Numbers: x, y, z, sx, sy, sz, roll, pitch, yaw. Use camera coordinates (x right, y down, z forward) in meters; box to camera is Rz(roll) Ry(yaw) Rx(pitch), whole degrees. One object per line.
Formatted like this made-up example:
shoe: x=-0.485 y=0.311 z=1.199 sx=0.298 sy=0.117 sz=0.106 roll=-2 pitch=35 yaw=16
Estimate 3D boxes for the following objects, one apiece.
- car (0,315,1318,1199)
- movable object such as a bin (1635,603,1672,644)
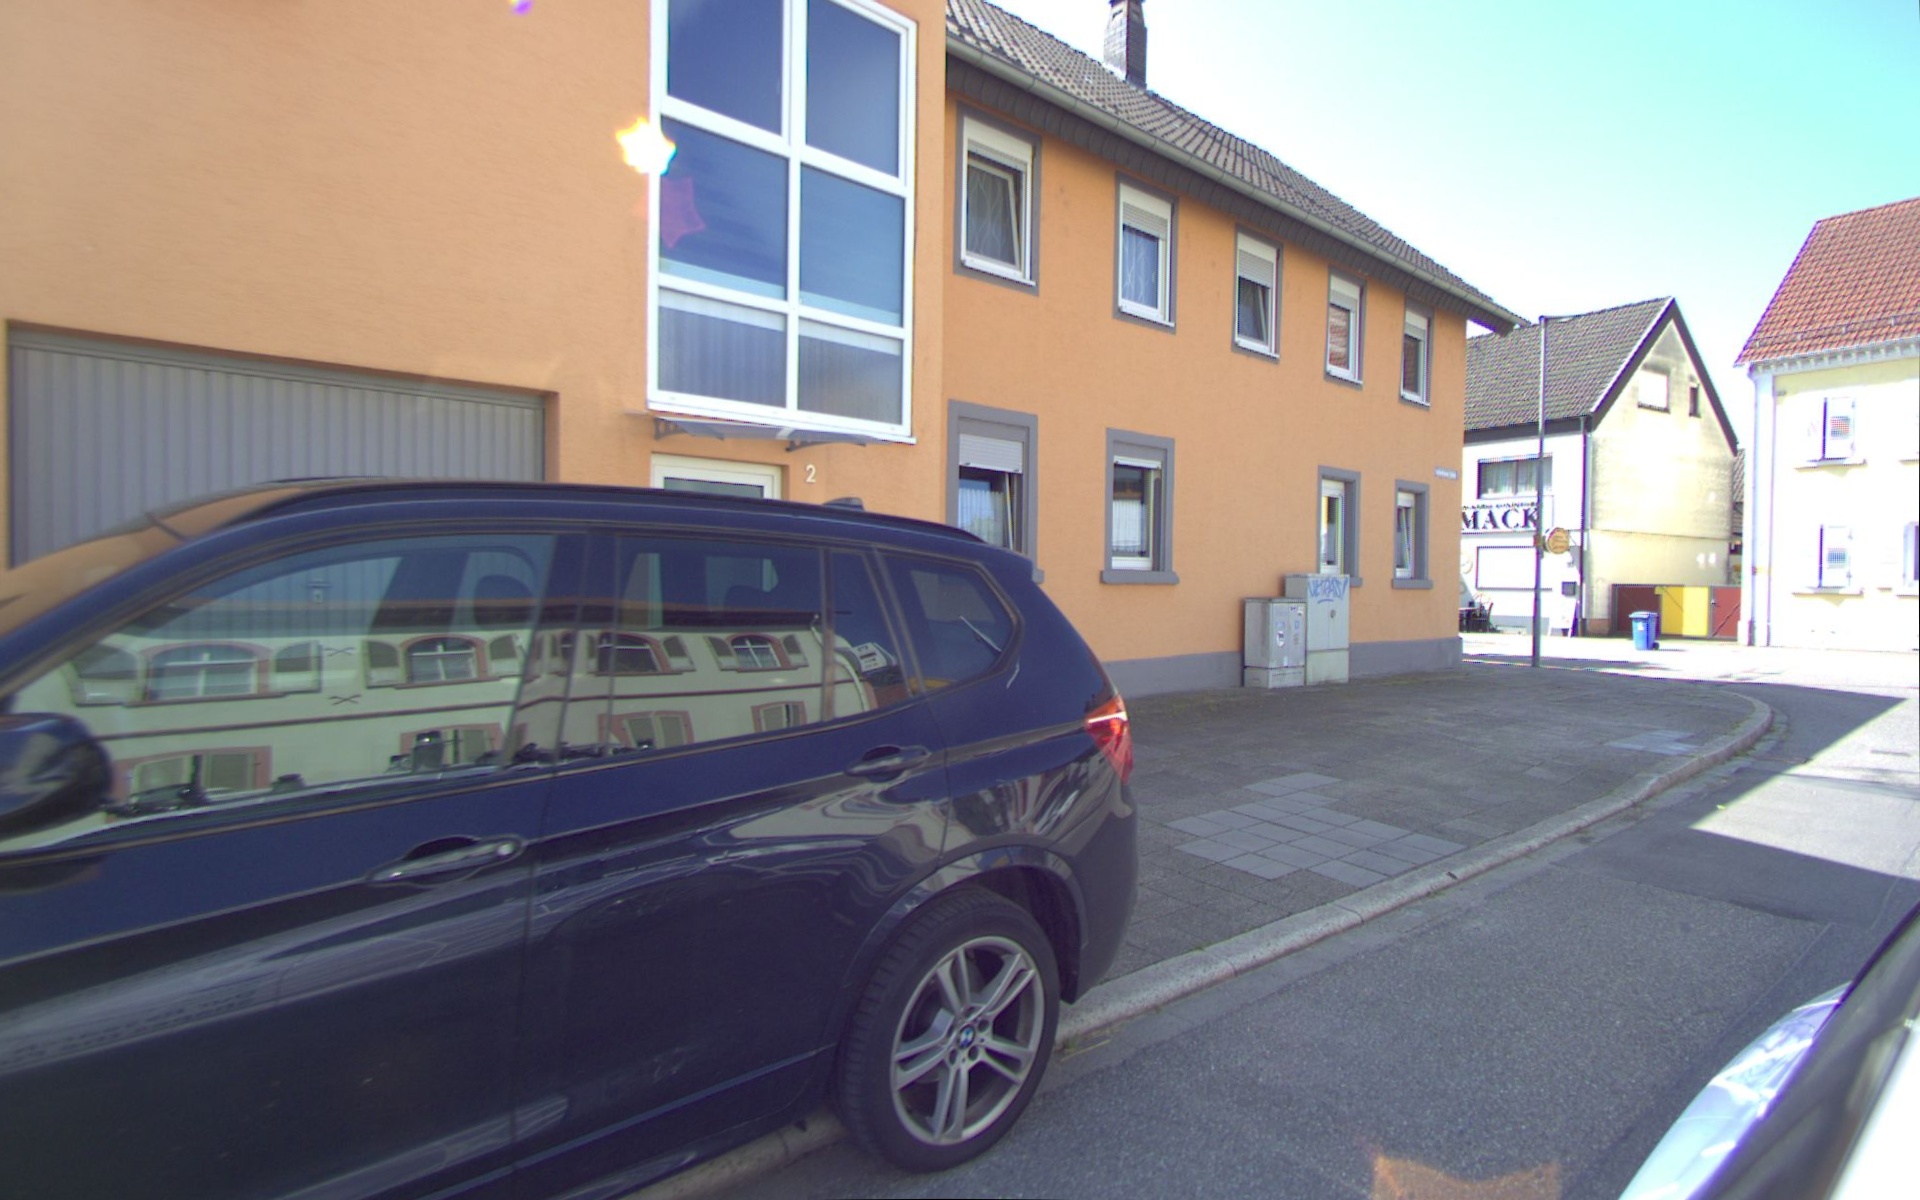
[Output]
car: x=-1.362 y=0.449 z=2.487 sx=5.087 sy=1.723 sz=1.849 roll=0 pitch=2 yaw=-39
movable object such as a bin: x=17.423 y=0.592 z=25.430 sx=0.633 sy=0.993 sz=0.613 roll=-1 pitch=1 yaw=-39
